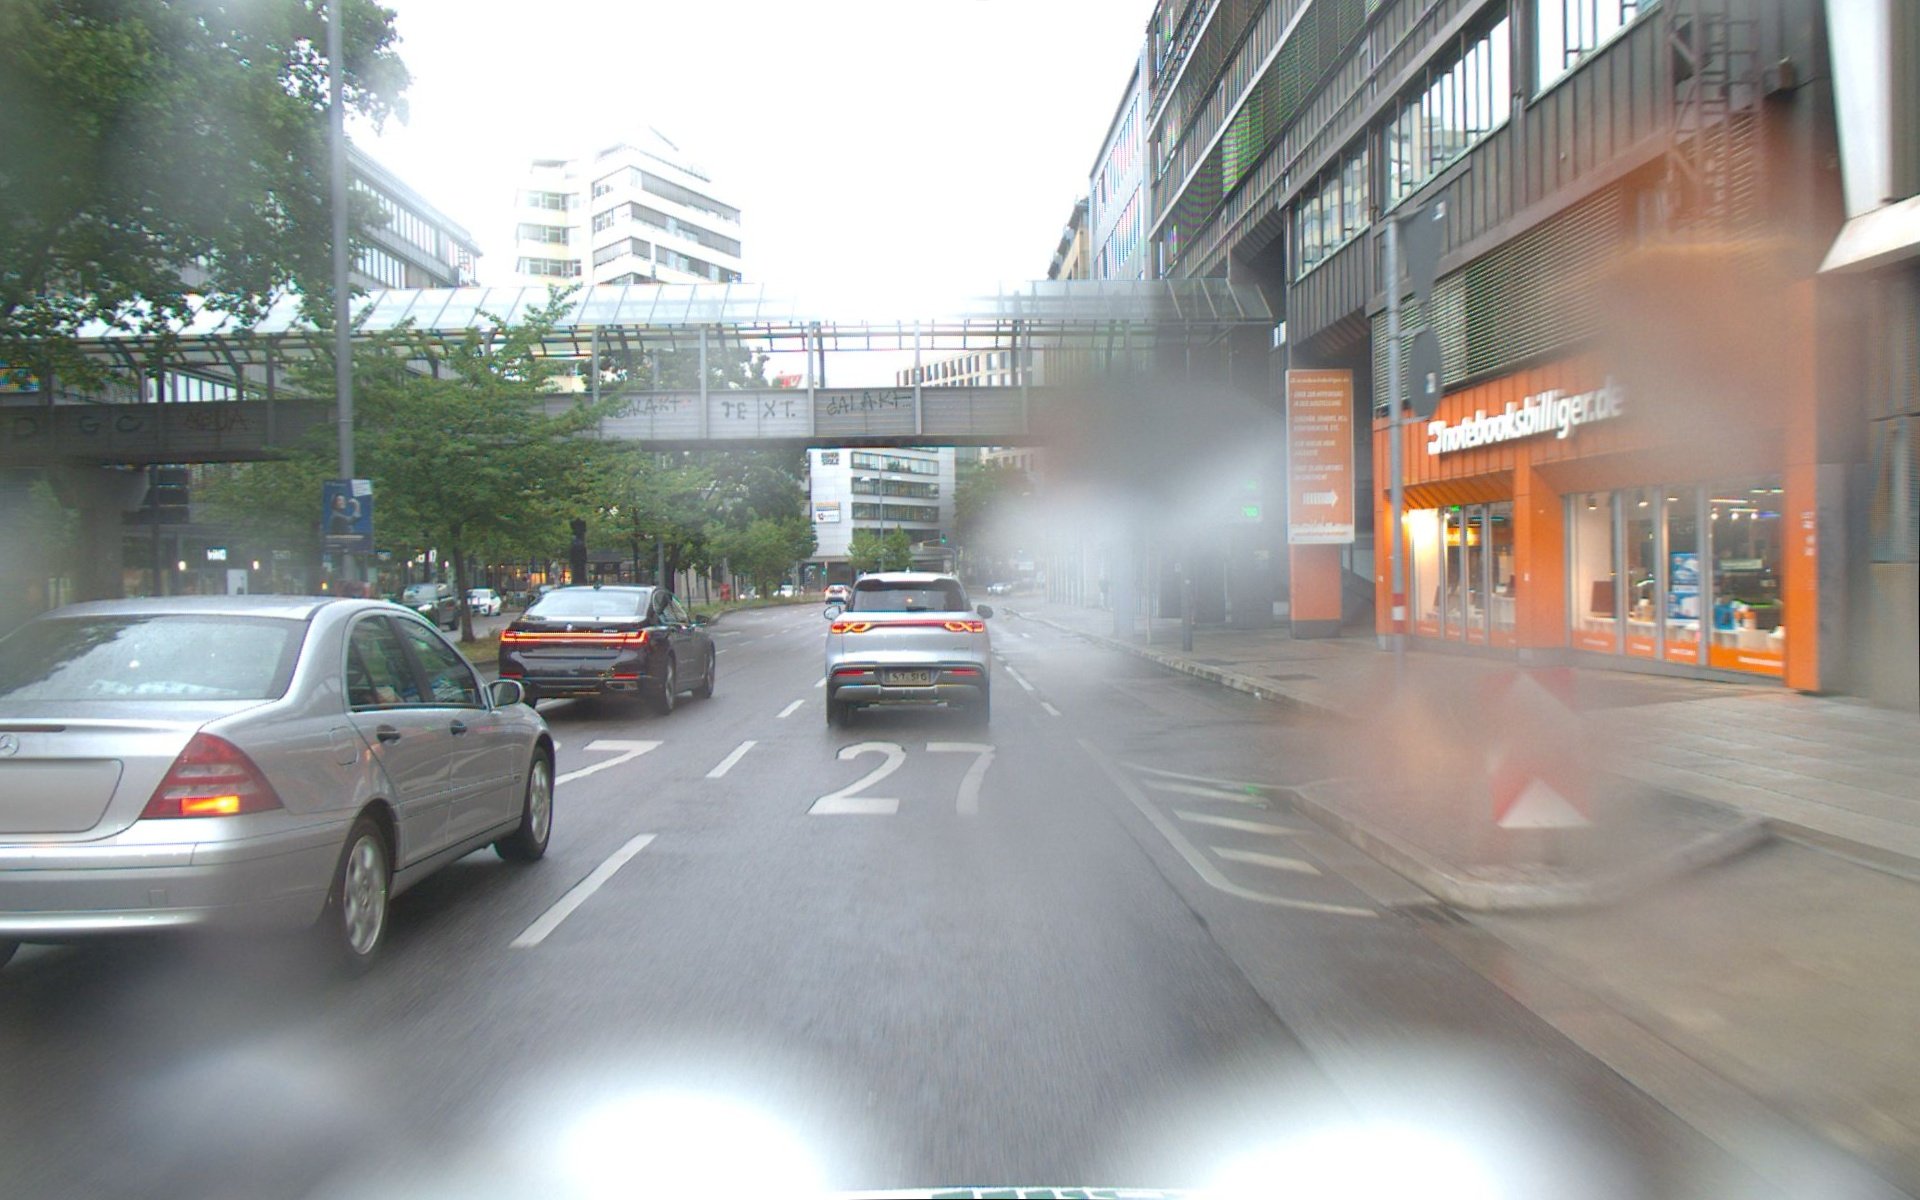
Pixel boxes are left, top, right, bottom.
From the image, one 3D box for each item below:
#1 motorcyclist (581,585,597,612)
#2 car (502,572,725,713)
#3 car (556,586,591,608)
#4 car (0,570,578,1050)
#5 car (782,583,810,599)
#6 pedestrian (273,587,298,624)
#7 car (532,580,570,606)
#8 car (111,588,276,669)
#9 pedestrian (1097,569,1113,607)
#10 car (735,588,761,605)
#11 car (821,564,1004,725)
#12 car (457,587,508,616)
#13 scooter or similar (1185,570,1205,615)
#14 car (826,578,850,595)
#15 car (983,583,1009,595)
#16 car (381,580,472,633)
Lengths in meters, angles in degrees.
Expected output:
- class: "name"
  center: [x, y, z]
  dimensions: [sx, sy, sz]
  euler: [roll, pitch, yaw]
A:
- class: "motorcyclist"
  center: [-19.700, -0.089, 87.917]
  dimensions: [0.625, 1.443, 0.970]
  euler: [-1, 0, -1]
- class: "car"
  center: [-4.092, 0.489, 20.314]
  dimensions: [1.834, 1.505, 4.876]
  euler: [-1, -1, -2]
- class: "car"
  center: [-25.851, -0.215, 110.684]
  dimensions: [1.591, 1.486, 3.961]
  euler: [0, 1, -3]
- class: "car"
  center: [-3.012, 0.666, 7.369]
  dimensions: [1.638, 1.505, 4.360]
  euler: [0, 0, -1]
- class: "car"
  center: [-16.244, -0.897, 164.044]
  dimensions: [1.589, 1.518, 4.310]
  euler: [-1, 0, 10]
- class: "pedestrian"
  center: [-32.149, 0.253, 78.858]
  dimensions: [0.728, 1.745, 1.056]
  euler: [-1, 0, -2]
- class: "car"
  center: [-25.842, -0.462, 104.587]
  dimensions: [1.591, 1.639, 4.230]
  euler: [0, 1, -3]
- class: "car"
  center: [-15.822, 0.548, 34.362]
  dimensions: [1.629, 1.489, 4.079]
  euler: [-3, 0, -3]
- class: "pedestrian"
  center: [6.960, -0.554, 79.476]
  dimensions: [0.622, 1.803, 0.789]
  euler: [-1, 0, -1]
- class: "car"
  center: [-17.674, -0.278, 137.783]
  dimensions: [1.590, 1.334, 3.618]
  euler: [-1, 0, 1]
- class: "car"
  center: [-0.528, 0.440, 18.936]
  dimensions: [1.862, 1.649, 3.999]
  euler: [0, 0, -1]
- class: "car"
  center: [-25.239, 0.092, 87.604]
  dimensions: [1.591, 1.458, 4.443]
  euler: [-1, 0, -3]
- class: "scooter or similar"
  center: [6.822, -0.221, 47.997]
  dimensions: [0.342, 1.277, 1.394]
  euler: [-1, 0, -1]
- class: "car"
  center: [-9.927, -1.104, 134.877]
  dimensions: [1.619, 1.365, 4.000]
  euler: [0, 1, 0]
- class: "car"
  center: [4.570, -1.409, 208.526]
  dimensions: [1.551, 1.565, 3.994]
  euler: [0, 1, 29]
- class: "car"
  center: [-20.406, 0.211, 63.523]
  dimensions: [1.961, 1.798, 5.182]
  euler: [-4, 1, -3]
